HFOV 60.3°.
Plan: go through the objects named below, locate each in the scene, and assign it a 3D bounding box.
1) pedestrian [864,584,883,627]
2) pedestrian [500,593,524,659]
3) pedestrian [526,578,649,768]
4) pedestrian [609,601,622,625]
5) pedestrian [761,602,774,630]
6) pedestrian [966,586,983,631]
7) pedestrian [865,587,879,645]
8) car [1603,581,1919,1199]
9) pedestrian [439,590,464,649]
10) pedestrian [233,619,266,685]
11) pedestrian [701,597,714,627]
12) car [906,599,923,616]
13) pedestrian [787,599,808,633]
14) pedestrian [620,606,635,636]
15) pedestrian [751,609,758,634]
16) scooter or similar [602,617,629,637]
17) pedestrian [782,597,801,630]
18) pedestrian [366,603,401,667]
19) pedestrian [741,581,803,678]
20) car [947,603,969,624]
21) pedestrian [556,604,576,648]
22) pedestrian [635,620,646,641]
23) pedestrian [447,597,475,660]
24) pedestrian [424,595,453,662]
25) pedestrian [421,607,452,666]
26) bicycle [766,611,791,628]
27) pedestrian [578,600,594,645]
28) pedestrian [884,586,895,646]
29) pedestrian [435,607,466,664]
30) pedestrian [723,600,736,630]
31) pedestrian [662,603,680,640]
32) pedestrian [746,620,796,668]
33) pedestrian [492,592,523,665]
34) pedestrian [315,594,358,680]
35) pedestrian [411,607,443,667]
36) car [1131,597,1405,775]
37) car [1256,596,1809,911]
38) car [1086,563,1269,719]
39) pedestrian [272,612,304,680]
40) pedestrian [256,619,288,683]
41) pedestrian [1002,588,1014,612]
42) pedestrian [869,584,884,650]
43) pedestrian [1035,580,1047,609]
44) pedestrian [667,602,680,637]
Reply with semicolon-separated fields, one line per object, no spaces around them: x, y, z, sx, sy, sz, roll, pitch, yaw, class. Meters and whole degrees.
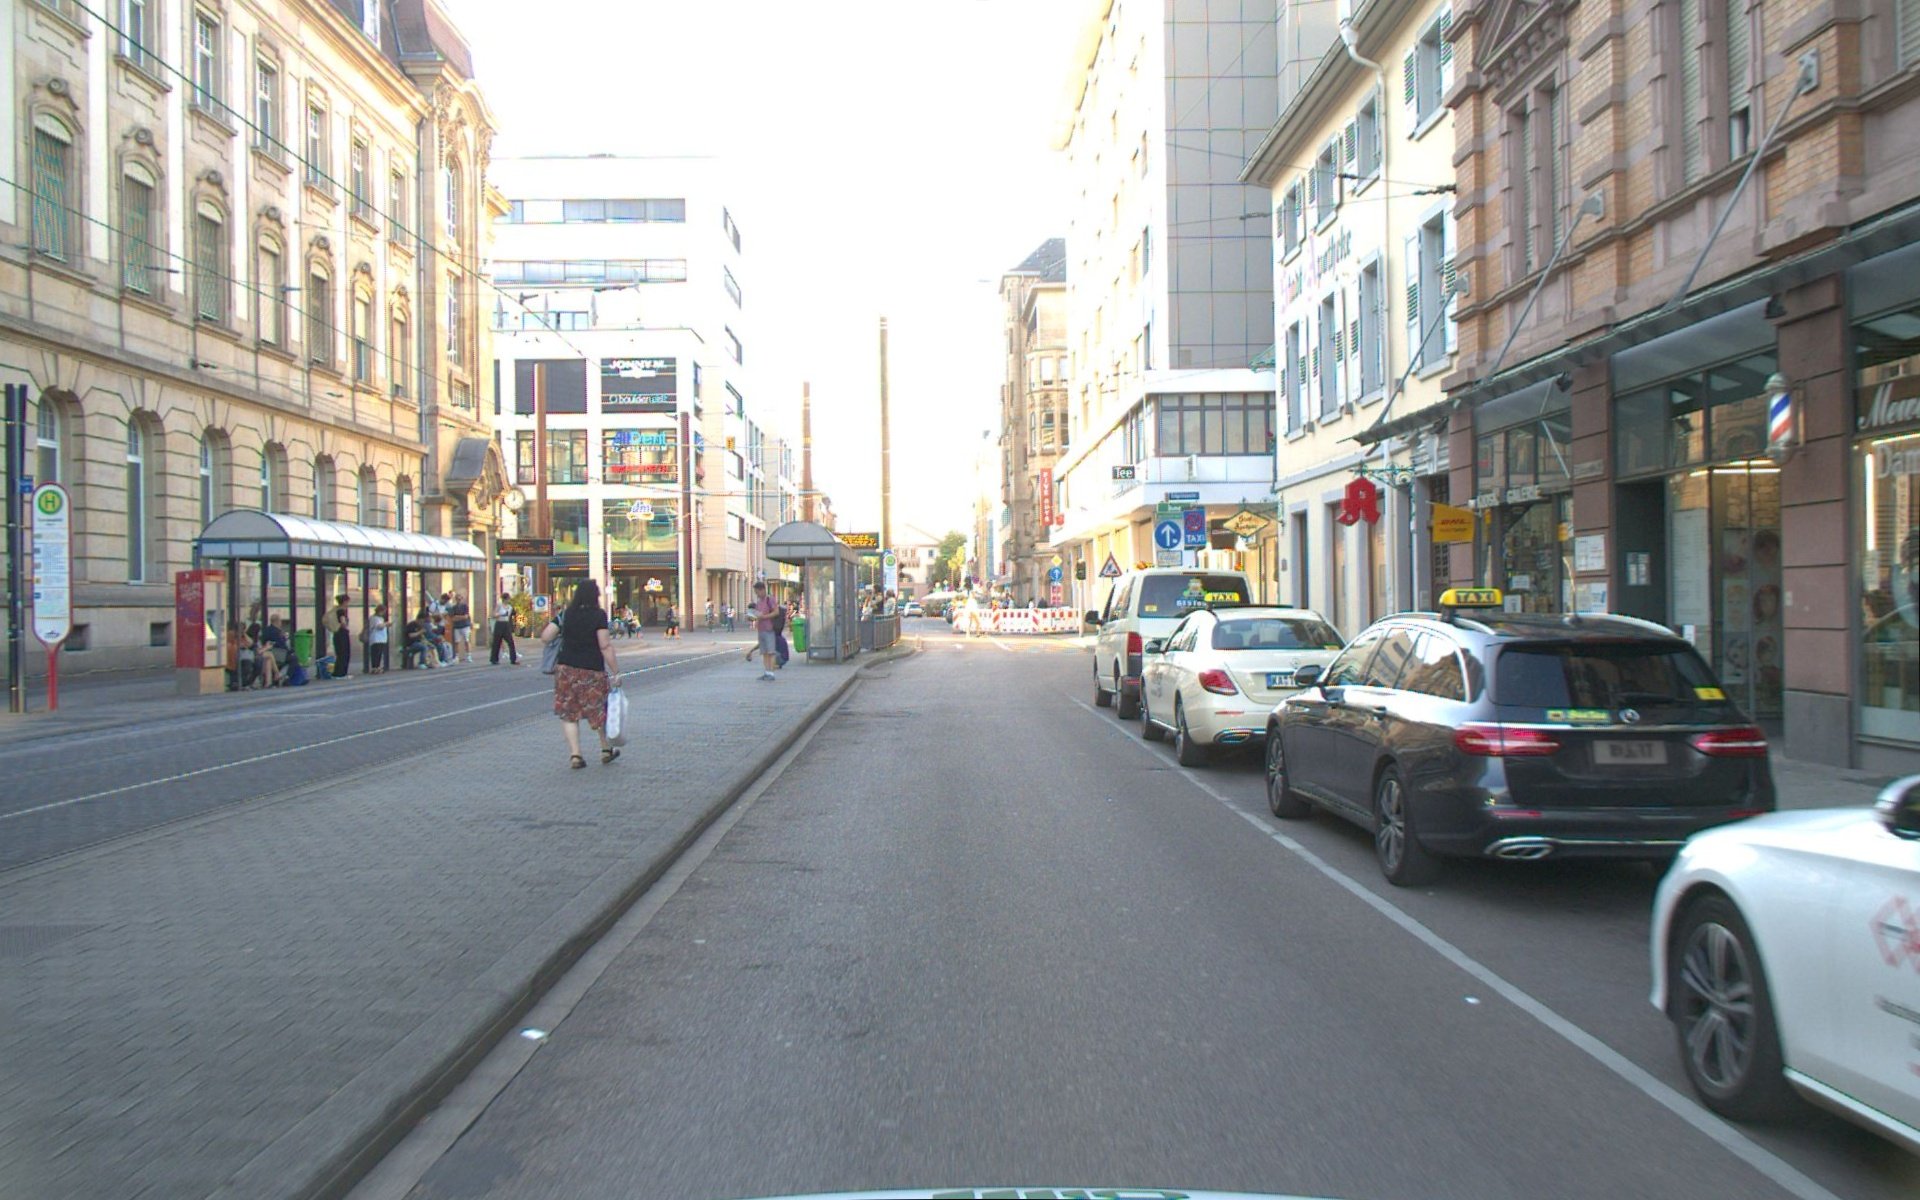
-3.511;0.214;67.081;0.686;1.723;0.540;1;-1;-9;pedestrian
-12.374;0.719;45.675;0.548;1.807;0.468;0;0;-5;pedestrian
-3.087;0.590;13.796;0.829;1.527;0.901;0;0;-2;pedestrian
-22.669;0.856;108.903;0.560;1.553;0.791;0;-1;10;pedestrian
-12.268;1.051;105.596;0.766;1.782;0.599;0;-1;-4;pedestrian
0.583;0.351;68.147;0.685;1.847;0.852;0;-1;-1;pedestrian
-2.571;0.470;48.369;0.378;1.671;0.549;0;-1;-3;pedestrian
3.174;0.738;3.392;1.697;1.537;4.863;1;-1;-1;car
-15.694;0.592;51.063;0.608;1.807;0.705;0;0;-5;pedestrian
-12.230;0.887;28.468;0.357;1.122;0.430;0;-1;5;pedestrian
-16.188;0.771;106.206;0.560;1.887;0.817;0;-1;10;pedestrian
-5.153;0.869;186.552;1.953;1.937;3.998;0;-1;-2;car
-8.034;0.789;81.742;0.813;1.642;0.685;-1;0;-32;pedestrian
-15.977;1.009;79.411;0.625;1.445;0.418;0;0;0;pedestrian
-13.007;1.348;104.798;0.382;1.541;0.505;-1;-1;-3;pedestrian
-16.431;1.275;78.875;1.071;0.920;0.890;-1;0;0;scooter or similar
-8.418;0.676;82.461;0.760;1.642;0.661;-1;0;-27;pedestrian
-12.333;0.753;35.373;0.507;1.350;0.638;-1;-1;2;pedestrian
-3.275;0.500;28.800;0.675;1.666;0.857;-1;0;39;pedestrian
-0.200;1.127;139.087;1.645;1.641;4.026;-2;-1;-2;car
-13.990;0.908;58.736;0.510;1.552;0.499;-1;0;39;pedestrian
-15.317;1.457;79.285;0.413;0.982;0.418;0;0;1;pedestrian
-12.879;0.739;42.671;0.507;1.597;0.638;-1;-1;2;pedestrian
-13.205;0.712;41.897;0.507;1.674;0.638;-1;-1;2;pedestrian
-12.263;0.850;38.753;0.507;1.350;0.638;-1;-1;2;pedestrian
-12.211;1.322;111.238;1.661;1.141;0.451;0;-1;1;bicycle
-13.105;0.775;57.897;0.517;1.552;0.500;0;0;-15;pedestrian
-2.177;0.500;51.200;0.335;1.827;0.544;0;-1;-3;pedestrian
-12.207;0.859;39.625;0.507;1.350;0.638;-1;-1;2;pedestrian
-13.380;0.869;96.117;0.635;1.703;0.530;-1;0;7;pedestrian
-13.590;1.005;77.793;0.729;1.730;0.610;-1;-1;-2;pedestrian
-3.859;0.888;33.817;0.781;0.955;0.693;0;0;22;pedestrian
-10.821;0.673;39.561;0.662;1.721;0.636;0;-1;-10;pedestrian
-12.353;0.727;32.782;0.507;1.679;0.638;-1;-1;21;pedestrian
-12.246;0.843;37.986;0.507;1.350;0.638;-1;-1;2;pedestrian
2.957;0.753;16.914;1.769;1.509;4.777;1;0;-1;car
3.191;0.763;10.356;1.691;1.503;4.819;1;-1;-1;car
2.974;0.551;23.553;1.839;1.957;4.698;1;-1;-1;car
-12.147;0.832;29.902;0.357;1.221;0.430;0;-1;5;pedestrian
-12.088;0.894;29.057;0.357;1.122;0.430;0;-1;5;pedestrian
3.285;0.001;113.389;0.697;1.639;0.821;0;-1;-4;pedestrian
-2.291;0.455;45.365;0.404;1.798;0.594;0;-1;-3;pedestrian
4.894;-0.322;100.207;0.612;1.719;0.671;-1;-1;-3;pedestrian
-13.576;0.914;78.434;0.558;1.621;0.448;-1;-1;-5;pedestrian
